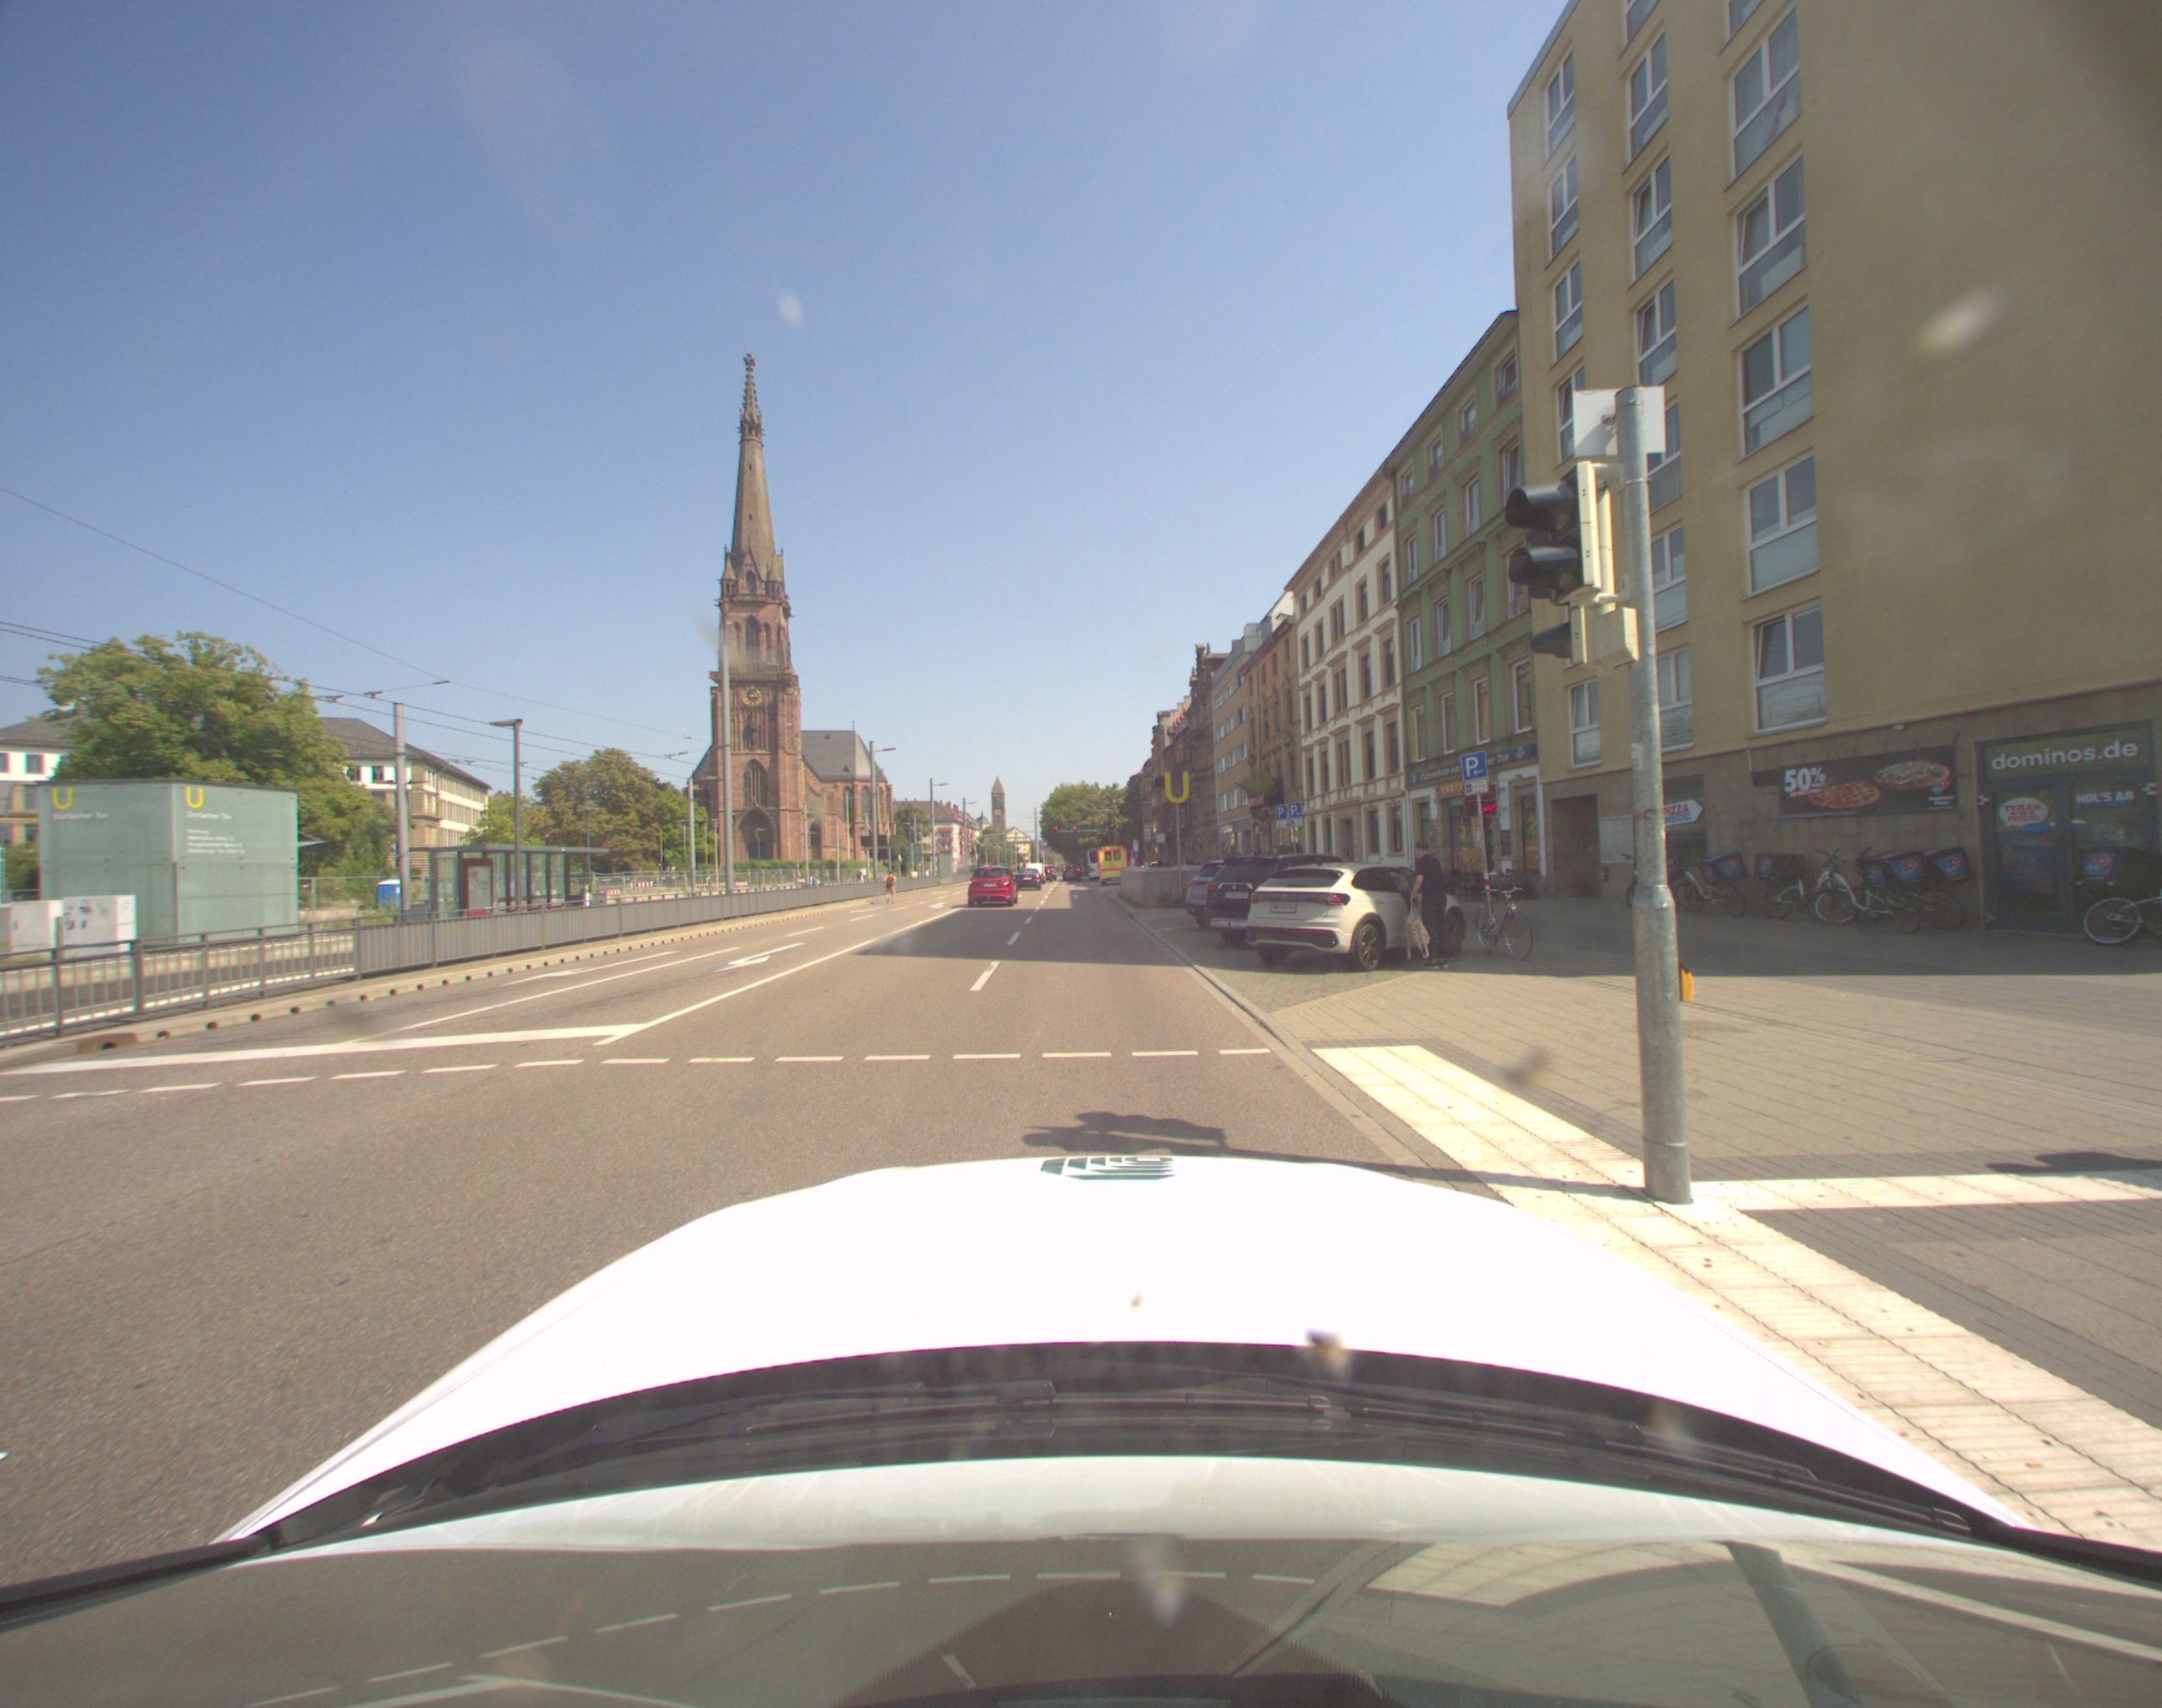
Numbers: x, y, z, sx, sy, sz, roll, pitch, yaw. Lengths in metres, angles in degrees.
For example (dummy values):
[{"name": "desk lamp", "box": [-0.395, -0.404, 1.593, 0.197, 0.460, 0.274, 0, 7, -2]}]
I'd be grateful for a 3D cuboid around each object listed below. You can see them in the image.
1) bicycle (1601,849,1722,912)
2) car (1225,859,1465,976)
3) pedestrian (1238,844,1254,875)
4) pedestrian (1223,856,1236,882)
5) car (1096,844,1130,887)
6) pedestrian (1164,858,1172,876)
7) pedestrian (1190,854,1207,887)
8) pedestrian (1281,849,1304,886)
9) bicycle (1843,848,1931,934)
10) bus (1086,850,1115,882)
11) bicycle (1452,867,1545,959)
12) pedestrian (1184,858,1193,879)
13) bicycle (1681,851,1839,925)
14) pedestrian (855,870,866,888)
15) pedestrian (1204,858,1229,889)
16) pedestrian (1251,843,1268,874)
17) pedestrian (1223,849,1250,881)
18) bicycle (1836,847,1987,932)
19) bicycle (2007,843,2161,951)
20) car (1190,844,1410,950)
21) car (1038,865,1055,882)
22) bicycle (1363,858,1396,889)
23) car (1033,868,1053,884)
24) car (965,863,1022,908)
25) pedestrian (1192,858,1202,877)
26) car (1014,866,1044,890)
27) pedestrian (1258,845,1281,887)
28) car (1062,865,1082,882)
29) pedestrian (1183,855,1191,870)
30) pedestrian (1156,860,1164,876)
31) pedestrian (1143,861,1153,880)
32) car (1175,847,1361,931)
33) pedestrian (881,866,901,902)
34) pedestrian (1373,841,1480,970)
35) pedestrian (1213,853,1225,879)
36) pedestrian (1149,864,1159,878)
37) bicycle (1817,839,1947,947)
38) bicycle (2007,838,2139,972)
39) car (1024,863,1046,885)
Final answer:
[{"name": "bicycle", "box": [12.568, 0.547, 17.748, 0.935, 1.238, 2.423, -2, -1, 2]}, {"name": "car", "box": [4.096, 0.829, 12.384, 3.805, 1.500, 1.786, 0, 0, -41]}, {"name": "pedestrian", "box": [9.766, 0.311, 48.223, 0.682, 1.774, 1.017, -2, 0, -1]}, {"name": "pedestrian", "box": [10.428, 1.039, 57.113, 0.598, 1.795, 0.879, -4, -1, -1]}, {"name": "car", "box": [2.406, 0.832, 60.732, 2.289, 2.888, 5.603, -3, -1, 3]}, {"name": "pedestrian", "box": [8.283, 1.256, 77.640, 0.694, 1.667, 0.603, -2, -1, 1]}, {"name": "pedestrian", "box": [6.584, 0.908, 45.688, 0.846, 1.729, 0.973, -3, 1, 5]}, {"name": "pedestrian", "box": [11.174, 0.713, 43.027, 0.841, 1.846, 0.684, -4, -1, -10]}, {"name": "bicycle", "box": [12.389, 0.538, 12.560, 0.584, 1.238, 1.555, -3, -1, 31]}, {"name": "bus", "box": [1.902, 1.250, 85.412, 2.526, 3.032, 12.429, -2, -1, -1]}, {"name": "bicycle", "box": [6.419, 0.874, 12.625, 0.471, 1.296, 1.792, -3, -2, 1]}, {"name": "pedestrian", "box": [9.027, 1.224, 68.409, 0.641, 1.685, 0.789, -2, -1, -2]}, {"name": "bicycle", "box": [12.538, 0.598, 15.182, 0.935, 1.238, 2.423, -2, -1, 2]}, {"name": "pedestrian", "box": [-22.049, 2.464, 81.432, 0.826, 1.752, 0.720, -2, -2, -1]}, {"name": "pedestrian", "box": [7.211, 1.026, 43.347, 0.856, 1.582, 0.960, -1, -2, -34]}, {"name": "pedestrian", "box": [10.539, 0.260, 48.162, 0.682, 1.774, 1.017, -2, 0, -1]}, {"name": "pedestrian", "box": [7.872, 0.545, 41.153, 0.856, 1.582, 0.960, -1, -2, -34]}, {"name": "bicycle", "box": [13.039, 0.529, 12.868, 0.407, 1.238, 1.825, -2, -1, -3]}, {"name": "bicycle", "box": [12.894, 0.497, 10.008, 0.726, 1.246, 1.959, -2, -1, -2]}, {"name": "car", "box": [4.290, 0.719, 15.567, 4.417, 1.687, 1.962, -2, -1, -43]}, {"name": "car", "box": [-3.699, 2.127, 87.401, 1.785, 1.698, 3.996, -2, -2, -2]}, {"name": "bicycle", "box": [12.487, 0.793, 34.130, 0.478, 1.146, 2.472, -2, 1, 1]}, {"name": "car", "box": [-3.670, 2.125, 78.909, 1.785, 1.473, 3.996, -2, -2, -2]}, {"name": "car", "box": [-3.468, 1.227, 33.073, 1.756, 1.618, 4.082, -2, -1, 1]}, {"name": "pedestrian", "box": [9.743, 1.133, 68.425, 0.641, 1.493, 0.789, -2, -1, -2]}, {"name": "car", "box": [-3.322, 1.516, 52.652, 1.786, 1.431, 3.996, -2, 0, -3]}, {"name": "pedestrian", "box": [7.794, 0.496, 33.671, 0.668, 1.685, 0.942, -3, -1, -1]}, {"name": "car", "box": [-0.899, 1.949, 80.888, 1.785, 1.677, 3.996, -2, -2, -2]}, {"name": "pedestrian", "box": [11.488, 0.936, 88.343, 0.622, 1.593, 0.694, -2, -1, -7]}, {"name": "pedestrian", "box": [8.274, 1.427, 84.895, 0.694, 1.667, 1.064, -2, -1, 1]}, {"name": "pedestrian", "box": [5.940, 1.460, 72.186, 0.690, 1.667, 0.606, -2, -1, 25]}, {"name": "car", "box": [4.575, 0.754, 19.503, 4.692, 1.713, 2.019, -2, -1, -43]}, {"name": "pedestrian", "box": [-9.650, 1.528, 41.418, 0.759, 1.752, 1.068, -2, -2, -3]}, {"name": "pedestrian", "box": [4.829, 0.689, 11.412, 1.040, 1.704, 0.896, 0, -1, -28]}, {"name": "pedestrian", "box": [9.671, 0.832, 57.110, 0.575, 1.750, 0.678, -4, -1, -1]}, {"name": "pedestrian", "box": [10.057, 2.354, 111.956, 1.245, 1.751, 1.526, -2, 1, 0]}, {"name": "bicycle", "box": [12.183, 0.518, 12.334, 3.380, 1.404, 0.894, -2, -1, -38]}, {"name": "bicycle", "box": [12.533, 0.547, 10.246, 3.380, 1.404, 0.894, -2, -1, -38]}, {"name": "car", "box": [-4.014, 1.779, 71.217, 1.785, 1.780, 3.996, -2, -2, -2]}]
